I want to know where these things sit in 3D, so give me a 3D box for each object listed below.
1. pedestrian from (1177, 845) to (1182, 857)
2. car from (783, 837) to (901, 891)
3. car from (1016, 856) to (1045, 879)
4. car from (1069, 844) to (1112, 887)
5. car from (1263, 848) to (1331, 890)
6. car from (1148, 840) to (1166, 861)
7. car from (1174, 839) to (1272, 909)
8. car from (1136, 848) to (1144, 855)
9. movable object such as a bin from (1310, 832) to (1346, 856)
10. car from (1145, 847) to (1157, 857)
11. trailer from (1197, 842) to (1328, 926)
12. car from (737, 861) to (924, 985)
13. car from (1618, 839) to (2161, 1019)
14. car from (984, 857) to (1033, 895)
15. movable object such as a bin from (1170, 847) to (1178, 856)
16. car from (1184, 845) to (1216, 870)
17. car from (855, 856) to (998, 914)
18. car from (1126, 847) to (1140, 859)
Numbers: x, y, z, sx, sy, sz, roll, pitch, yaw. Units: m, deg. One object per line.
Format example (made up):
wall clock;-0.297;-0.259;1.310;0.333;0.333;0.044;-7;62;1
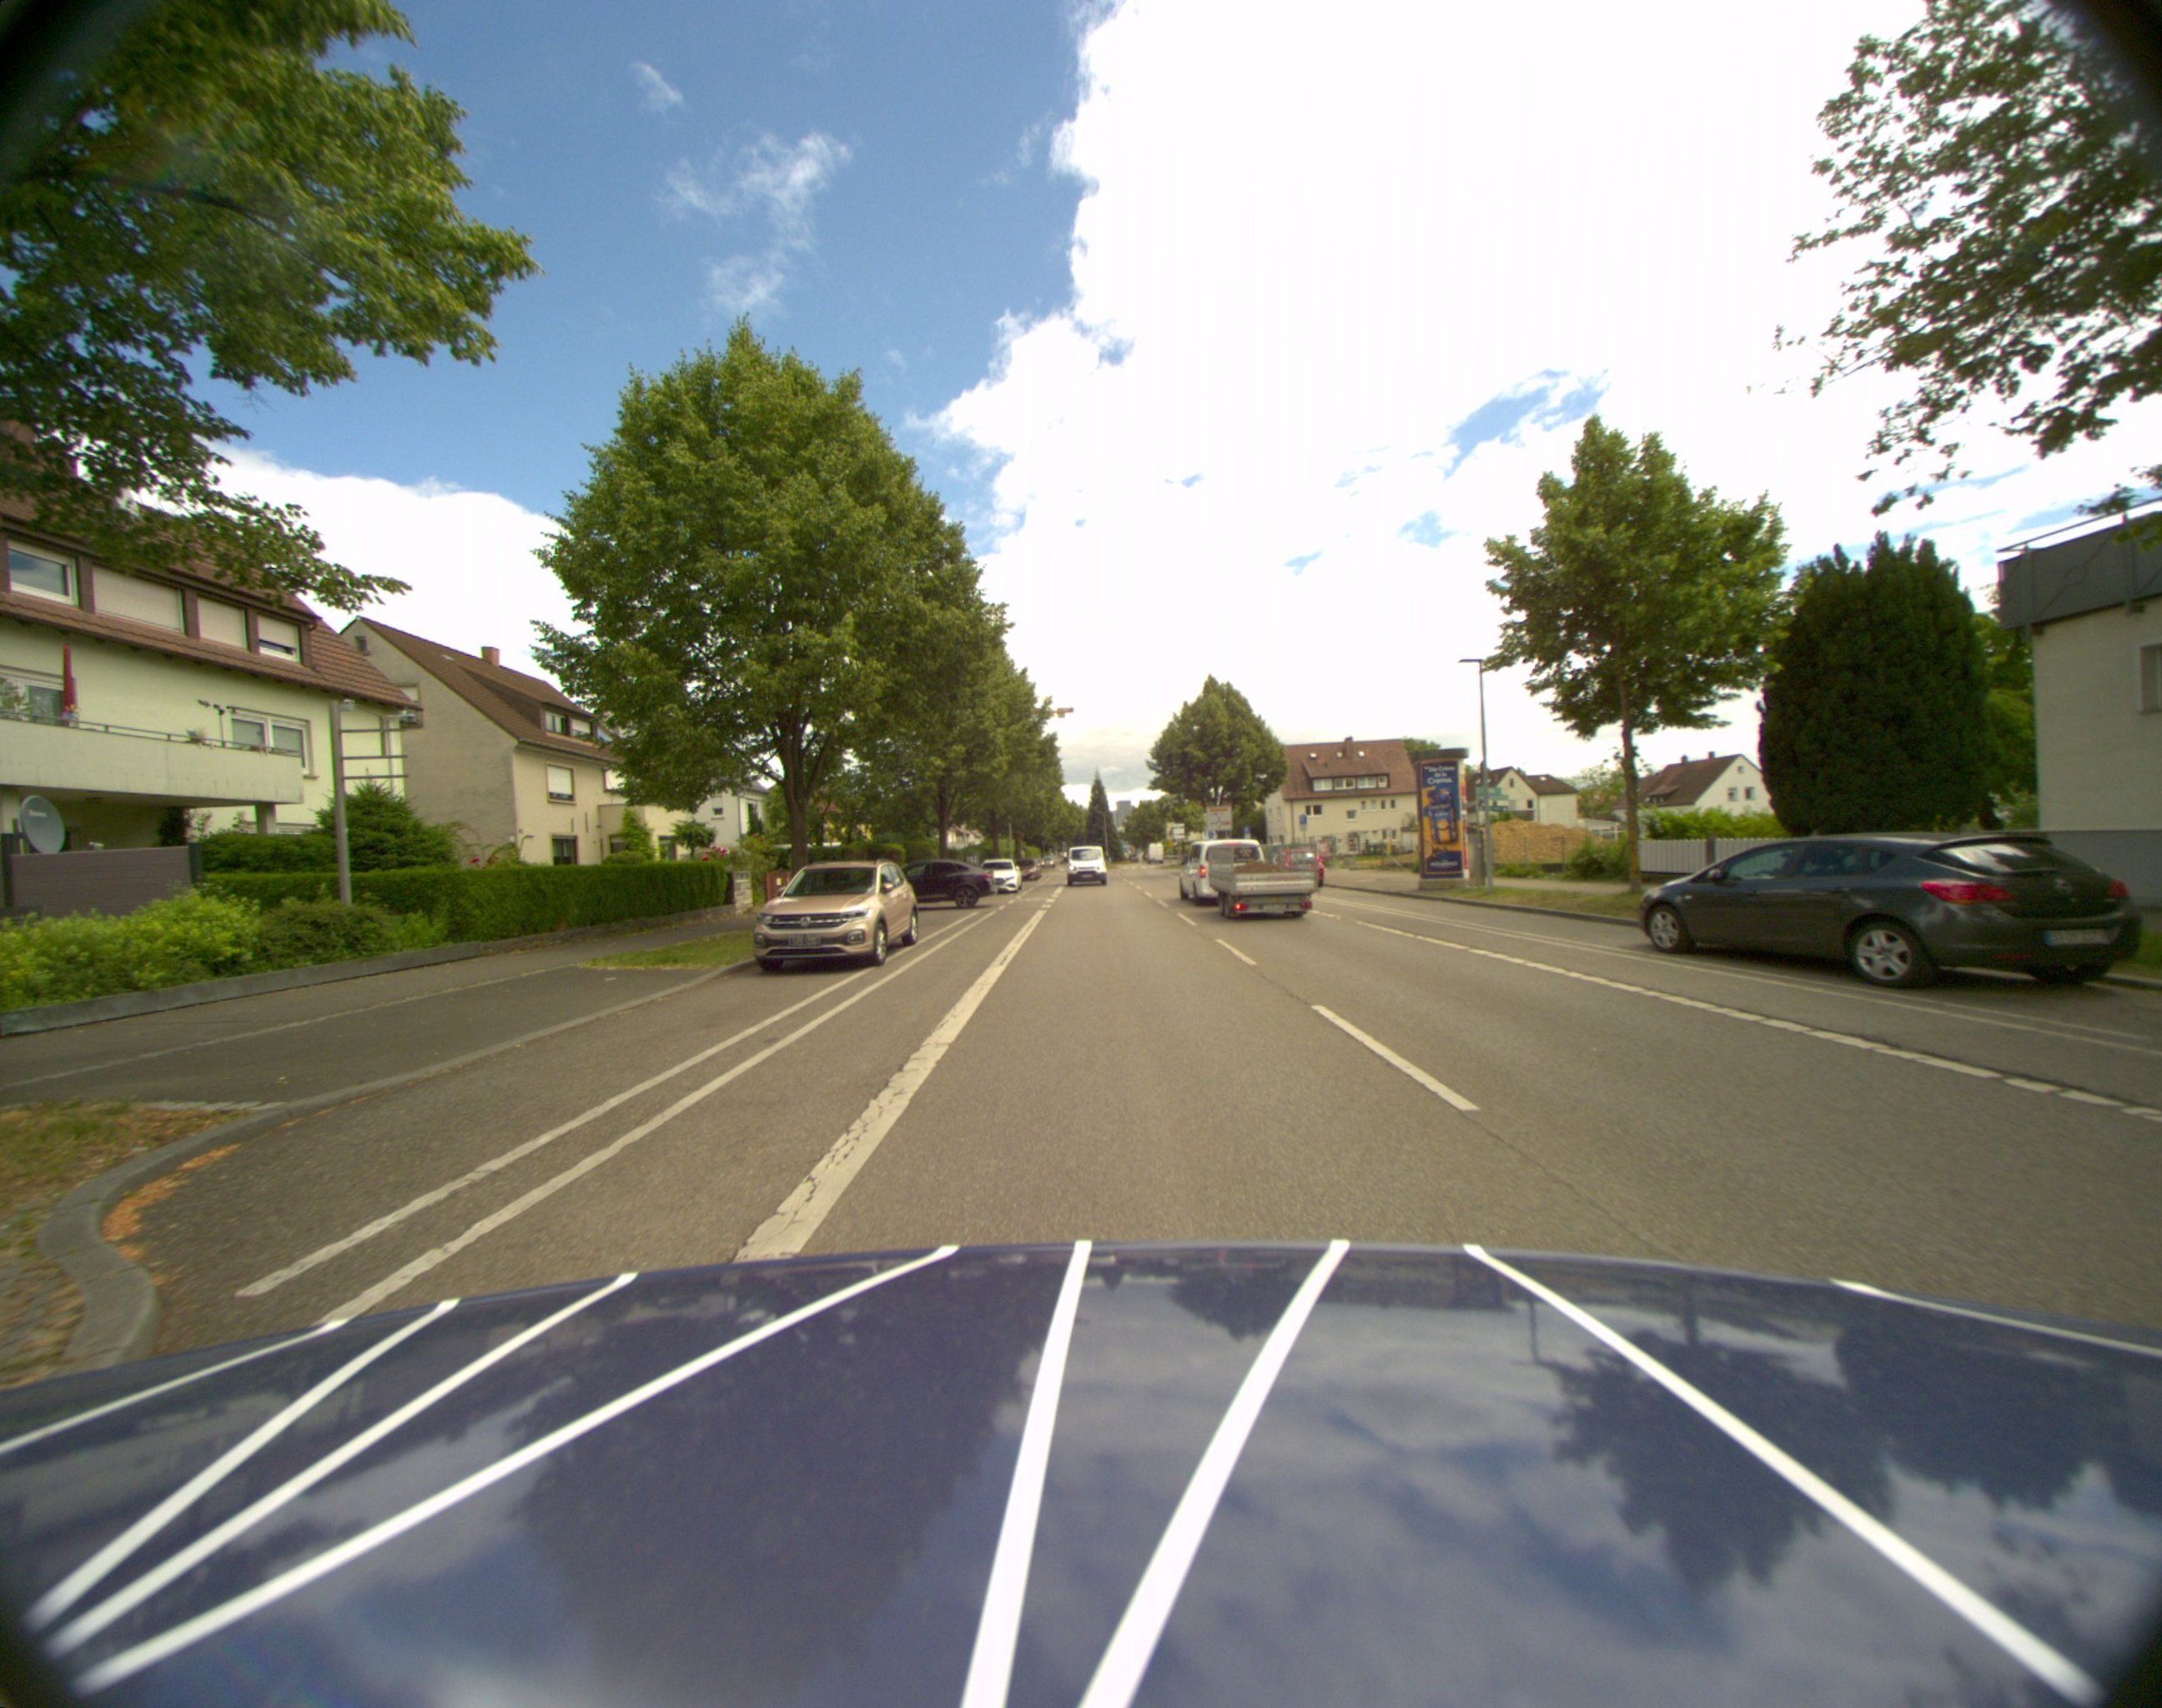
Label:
pedestrian;15.205;-0.422;117.296;0.637;1.816;0.567;-4;0;12
car;-12.937;0.537;41.421;5.730;2.576;1.997;-2;0;-4
car;-3.318;0.886;50.571;1.657;1.407;4.176;-1;0;0
car;0.448;0.556;39.720;1.999;2.002;5.049;-3;0;-1
car;8.744;0.571;31.062;1.689;1.532;4.132;-2;0;2
car;10.091;-0.489;101.215;2.024;2.658;5.806;-3;0;2
car;4.108;0.531;22.823;1.971;1.820;4.818;-2;0;0
car;13.406;-0.596;172.668;1.665;1.466;3.746;-3;0;0
movable object such as a bin;23.722;-0.972;73.190;1.901;2.175;4.361;-3;0;-2
car;12.379;-0.281;134.618;1.751;1.626;4.048;-3;0;1
trailer;4.107;0.607;18.059;1.943;1.667;4.688;-2;0;0
car;-3.808;0.952;12.315;1.726;1.571;4.060;-2;0;-2
car;8.373;0.619;8.494;1.735;1.460;4.301;-2;0;1
car;-3.198;0.928;34.257;1.810;1.466;4.811;-2;0;-1
movable object such as a bin;16.024;-0.391;131.516;0.984;1.408;2.722;-3;0;1
car;8.921;0.226;57.275;1.774;1.760;4.551;-3;0;2
car;-4.781;0.946;23.973;4.229;1.628;1.692;-1;0;-5
car;7.988;-0.177;117.118;1.926;1.744;4.000;-3;0;1
